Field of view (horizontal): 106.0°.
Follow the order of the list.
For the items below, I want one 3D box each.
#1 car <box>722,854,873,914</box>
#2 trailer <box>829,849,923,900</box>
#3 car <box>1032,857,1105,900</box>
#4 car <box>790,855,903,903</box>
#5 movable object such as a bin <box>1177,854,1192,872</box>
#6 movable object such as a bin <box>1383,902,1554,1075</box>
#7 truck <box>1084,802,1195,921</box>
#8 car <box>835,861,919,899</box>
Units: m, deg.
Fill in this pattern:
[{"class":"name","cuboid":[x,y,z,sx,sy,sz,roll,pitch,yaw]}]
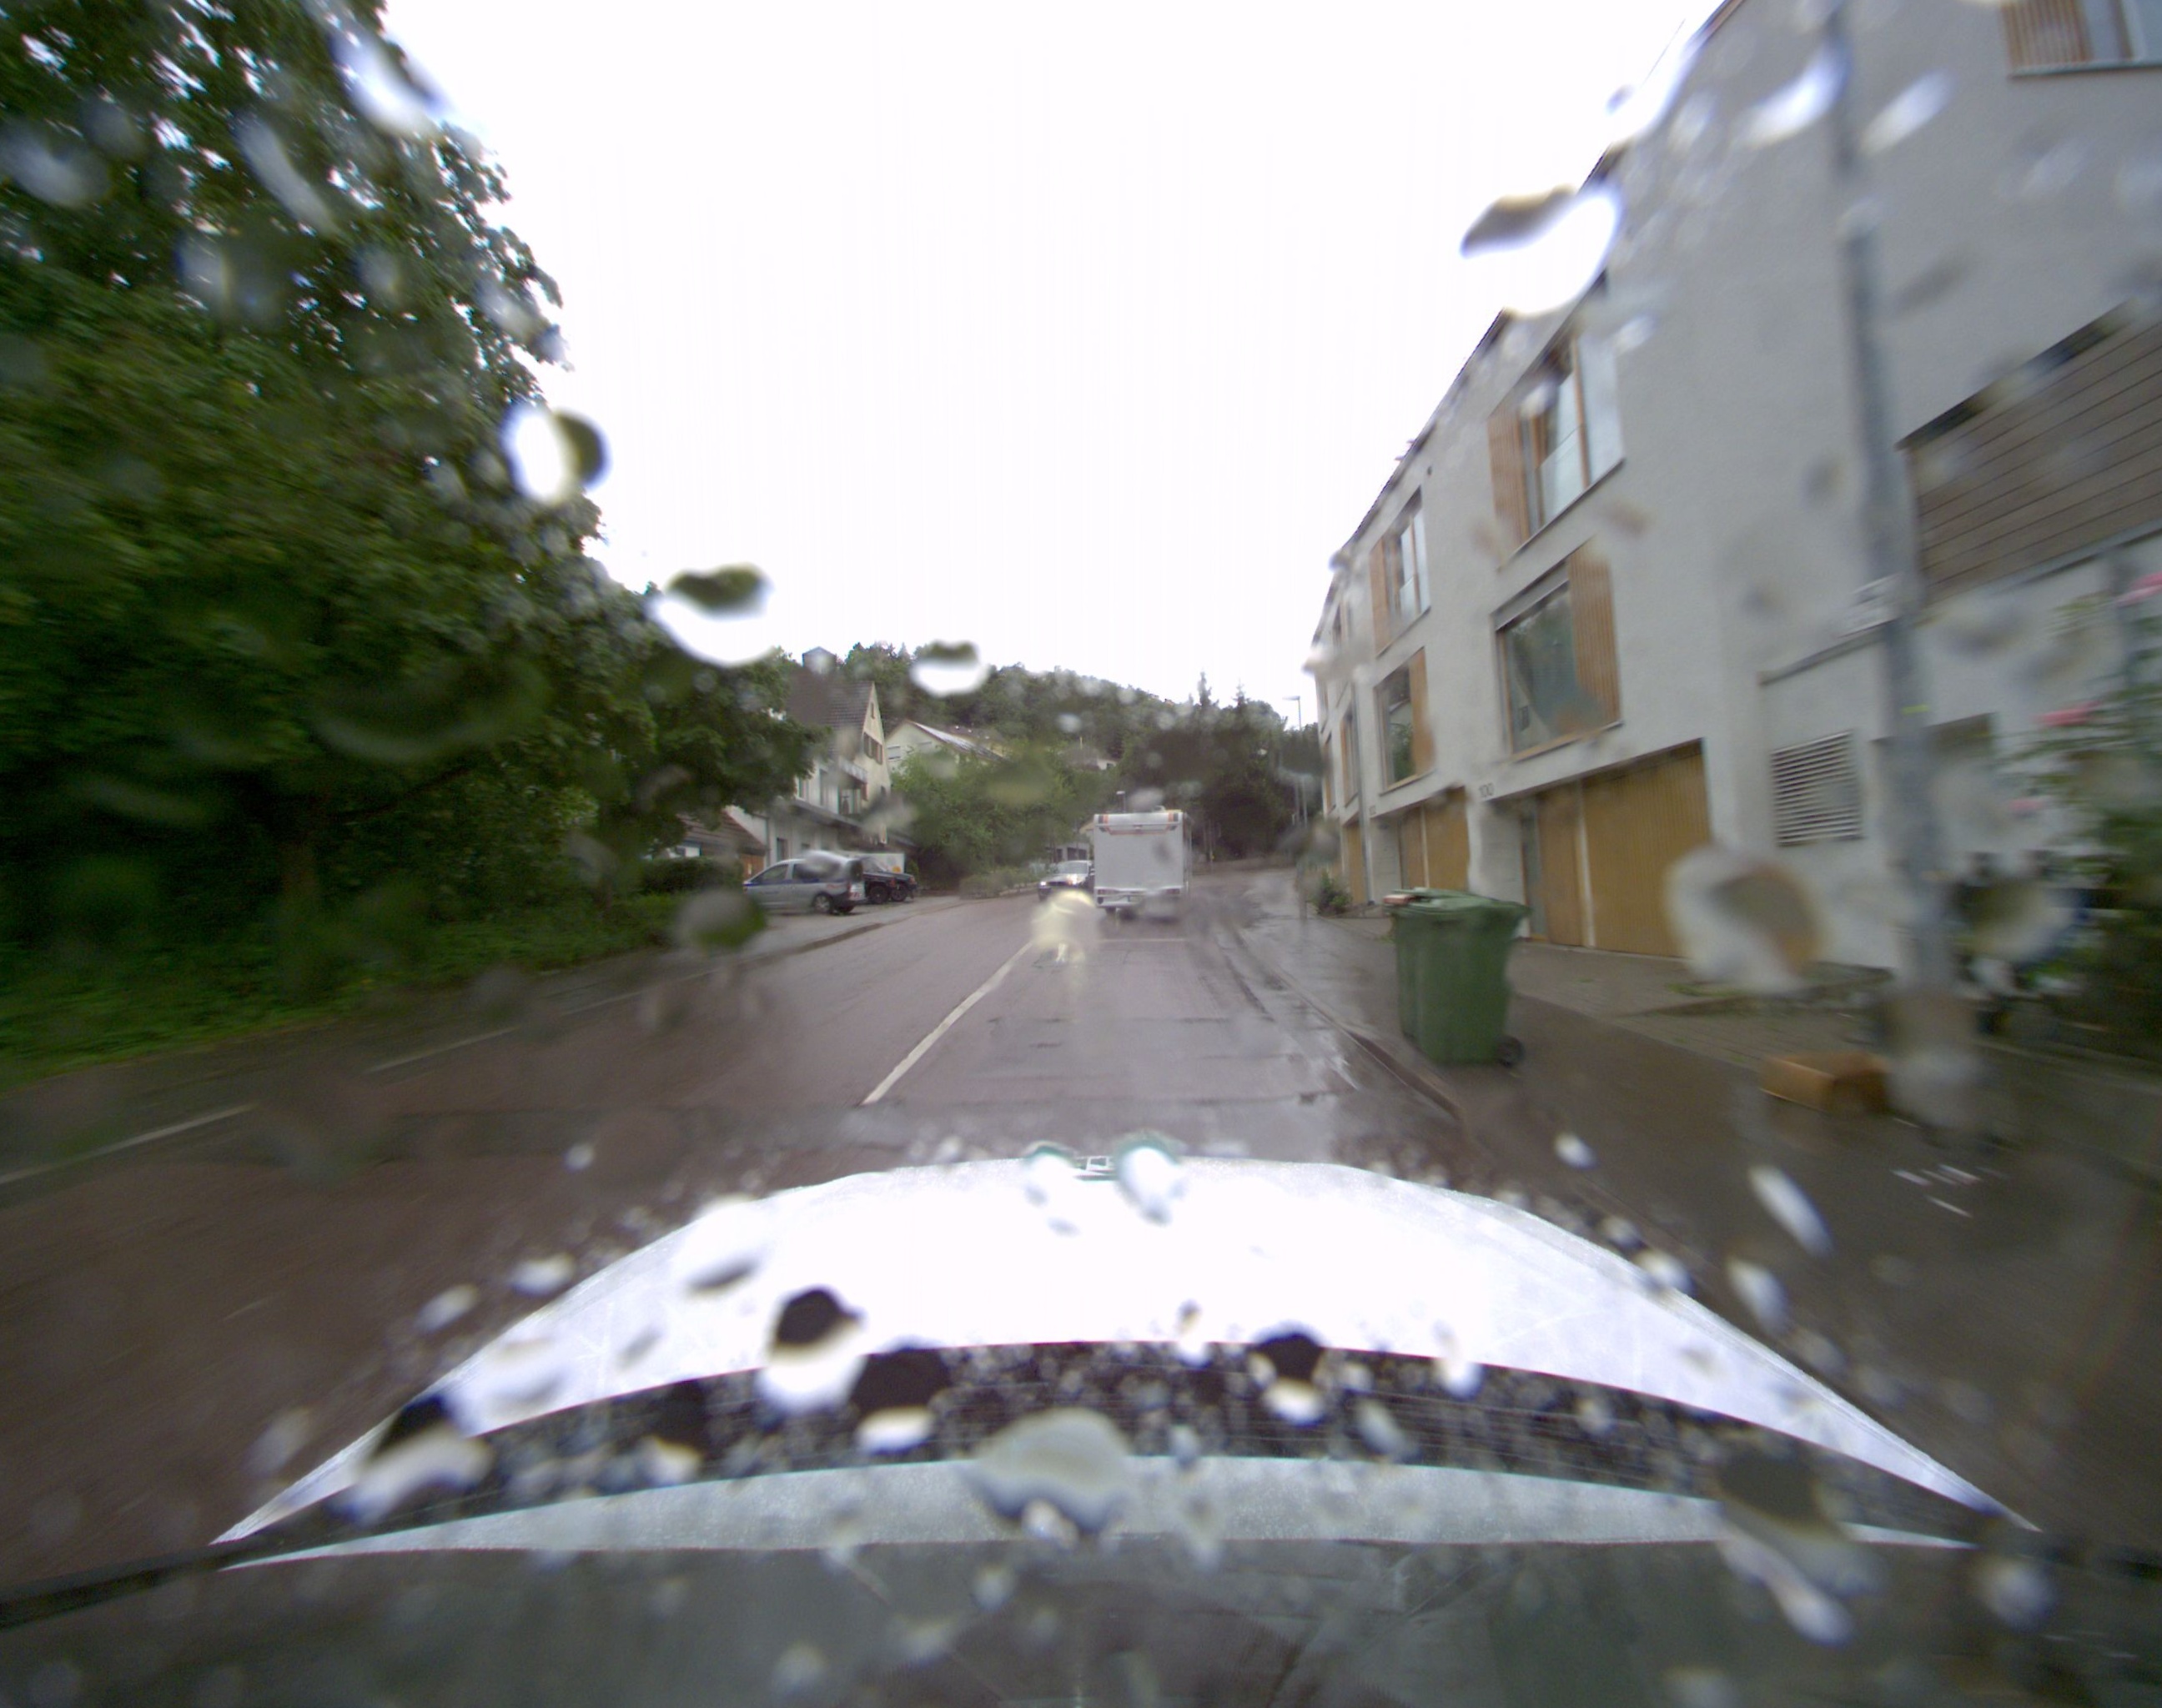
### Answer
[{"class":"car","cuboid":[-9.034,0.926,26.184,4.089,1.800,2.002,-1,0,3]},{"class":"trailer","cuboid":[-9.522,0.927,37.731,3.963,2.102,1.939,-3,-1,-22]},{"class":"car","cuboid":[-0.369,0.860,30.076,1.807,1.422,3.913,-1,0,12]},{"class":"car","cuboid":[-9.197,0.947,32.231,4.074,1.774,1.794,-1,0,-9]},{"class":"movable object such as a bin","cuboid":[6.519,0.555,51.161,0.708,1.088,0.555,-1,0,-29]},{"class":"movable object such as a bin","cuboid":[2.641,0.891,5.636,0.832,1.061,0.750,-1,0,2]},{"class":"truck","cuboid":[1.818,0.186,22.700,2.500,2.817,6.217,-1,0,9]},{"class":"car","cuboid":[-8.633,1.067,34.718,3.335,1.485,1.833,-1,0,-10]}]
